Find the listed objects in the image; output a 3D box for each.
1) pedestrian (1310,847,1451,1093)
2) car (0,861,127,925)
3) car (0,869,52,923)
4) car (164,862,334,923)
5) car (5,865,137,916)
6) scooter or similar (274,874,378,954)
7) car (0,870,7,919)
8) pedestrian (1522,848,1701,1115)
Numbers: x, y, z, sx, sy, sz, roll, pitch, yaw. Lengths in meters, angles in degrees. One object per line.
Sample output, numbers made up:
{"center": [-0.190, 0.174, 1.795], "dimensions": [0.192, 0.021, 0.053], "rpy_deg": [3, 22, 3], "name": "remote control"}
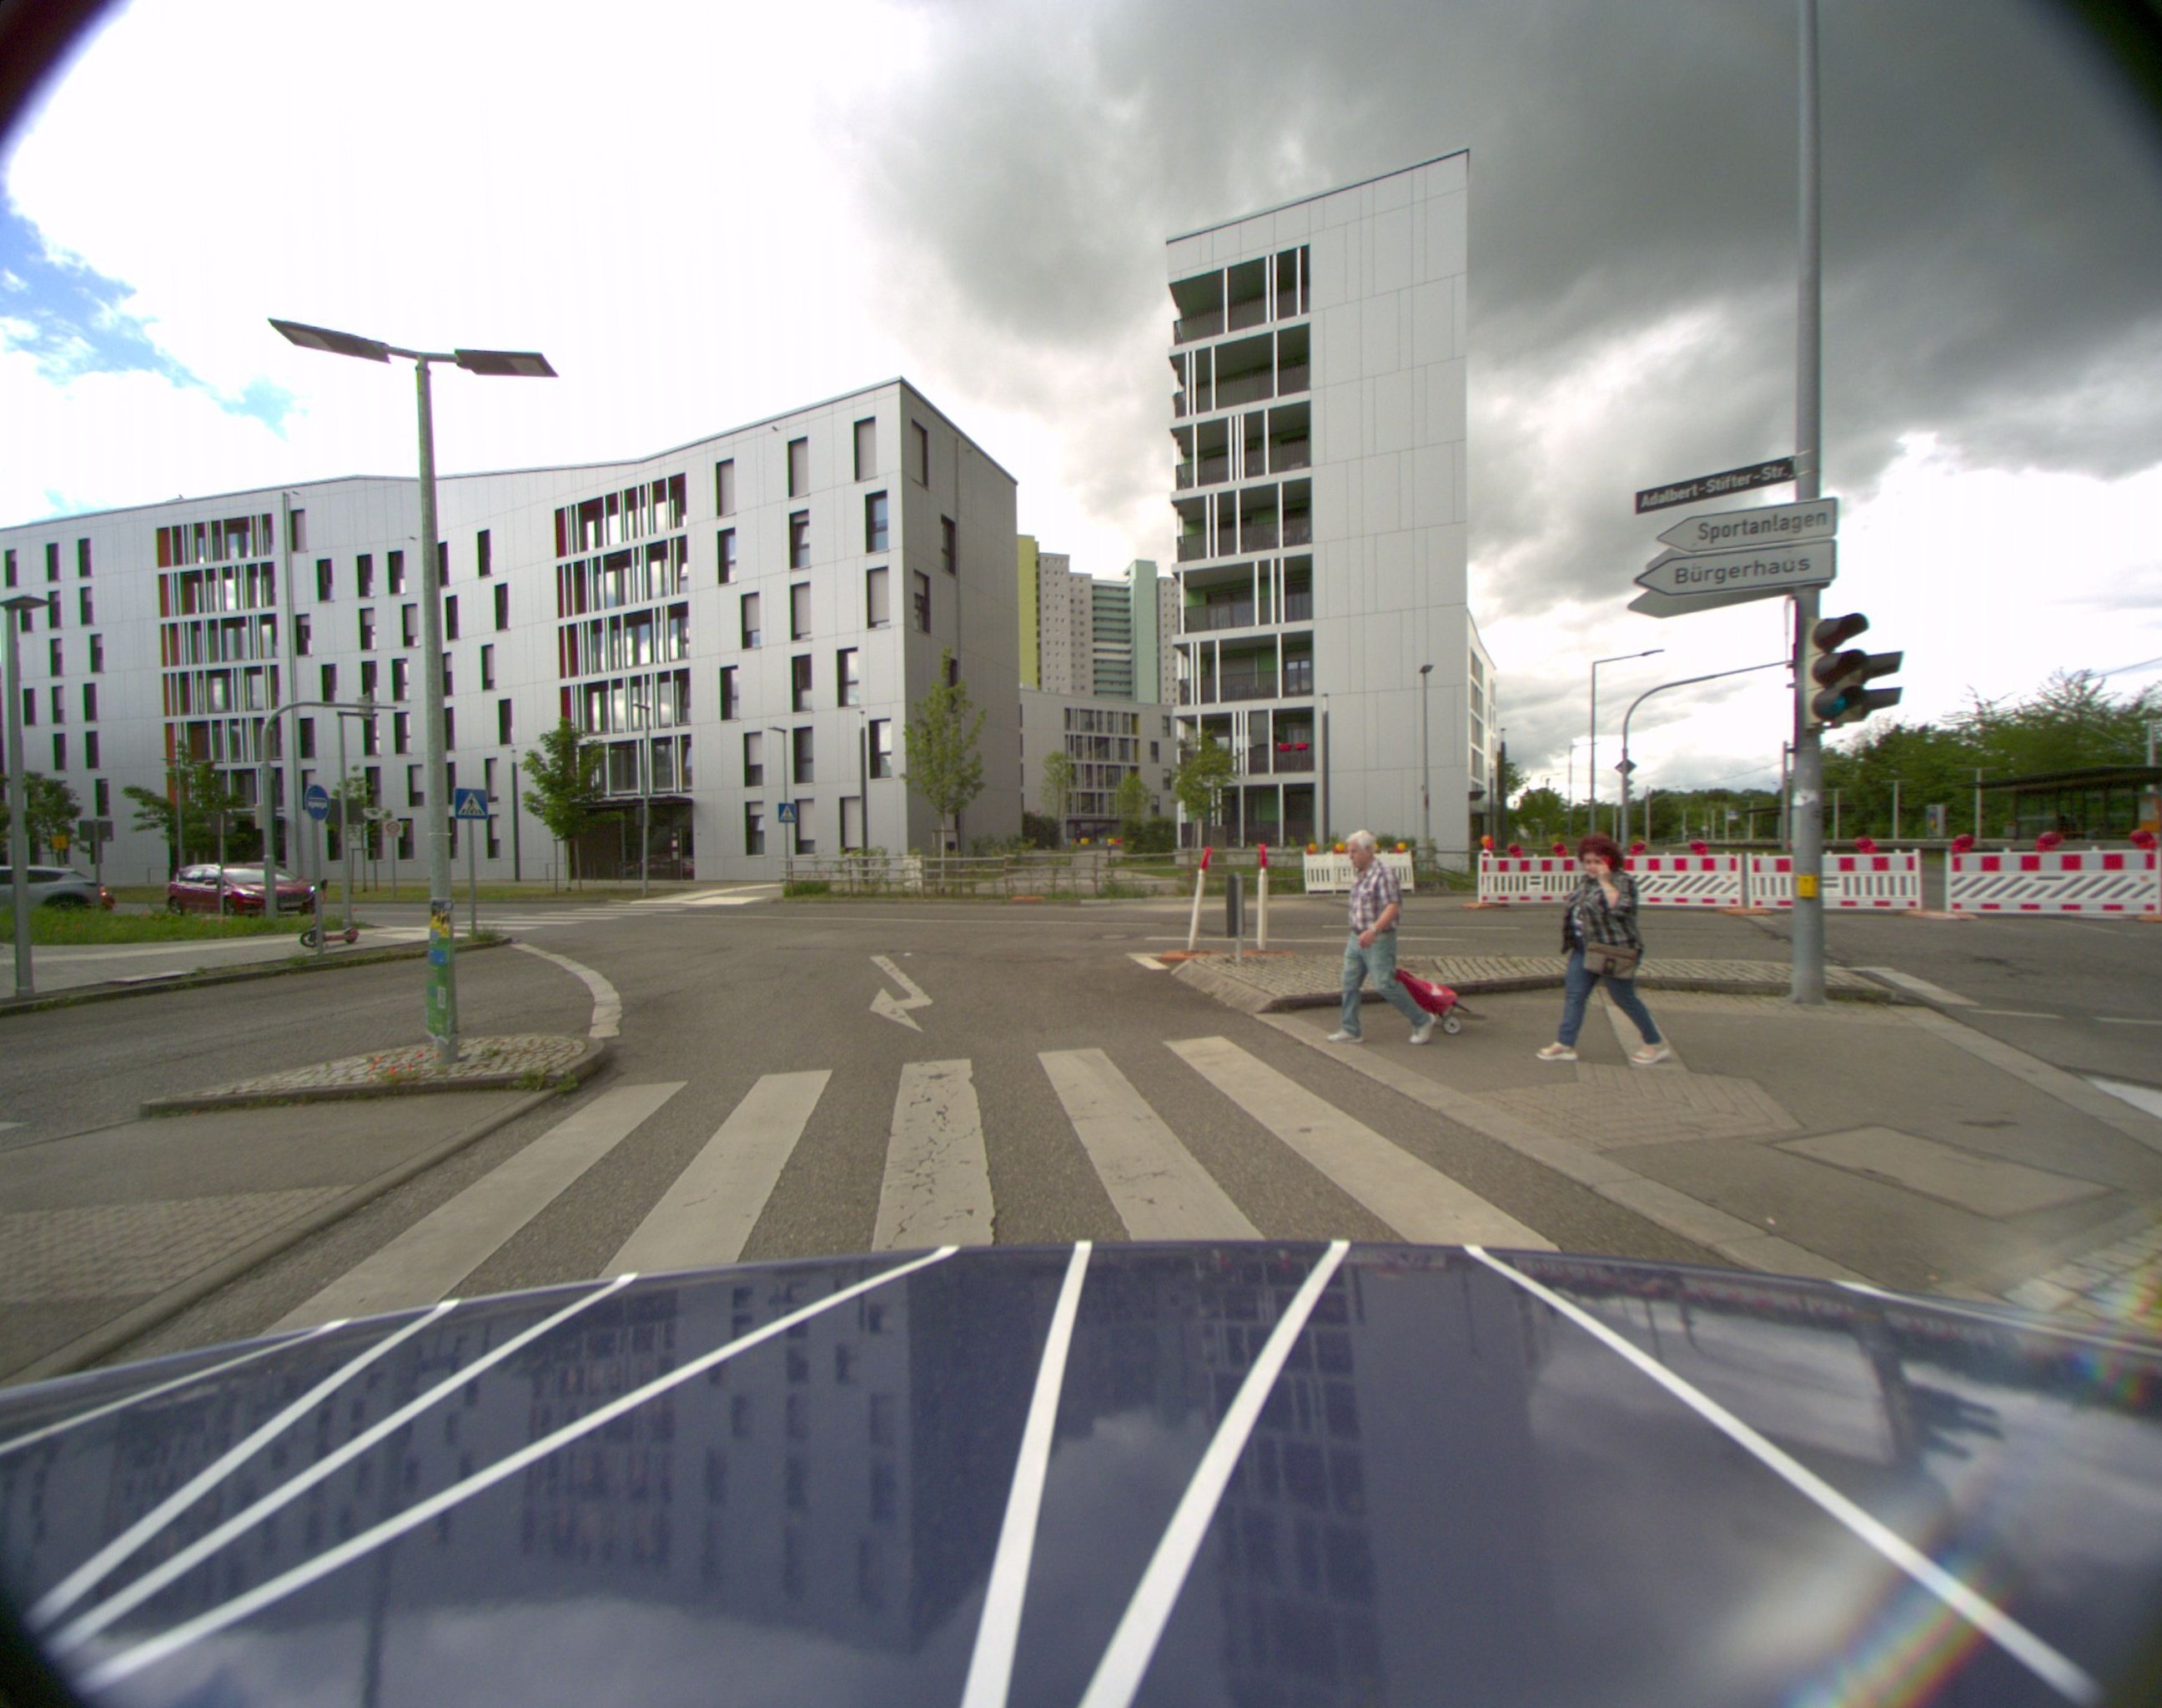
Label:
{"center": [2.117, 0.783, 5.447], "dimensions": [0.722, 1.624, 0.699], "rpy_deg": [-2, 3, 3], "name": "pedestrian"}
{"center": [-30.577, 1.088, 21.086], "dimensions": [2.066, 1.741, 4.670], "rpy_deg": [-1, -1, 16], "name": "car"}
{"center": [-33.228, 1.276, 21.704], "dimensions": [1.792, 1.577, 4.174], "rpy_deg": [-1, 0, 18], "name": "car"}
{"center": [-25.406, 1.129, 23.228], "dimensions": [4.233, 1.623, 1.936], "rpy_deg": [-1, 3, 20], "name": "car"}
{"center": [-36.564, 1.274, 27.513], "dimensions": [3.990, 1.609, 1.821], "rpy_deg": [0, 3, 22], "name": "car"}
{"center": [-13.864, 1.070, 14.012], "dimensions": [0.572, 1.306, 1.523], "rpy_deg": [-2, 2, -12], "name": "scooter or similar"}
{"center": [-35.579, 1.287, 22.173], "dimensions": [1.907, 1.553, 4.498], "rpy_deg": [-1, -1, 18], "name": "car"}
{"center": [3.340, 0.753, 4.855], "dimensions": [0.731, 1.558, 0.693], "rpy_deg": [-1, 2, 14], "name": "pedestrian"}
